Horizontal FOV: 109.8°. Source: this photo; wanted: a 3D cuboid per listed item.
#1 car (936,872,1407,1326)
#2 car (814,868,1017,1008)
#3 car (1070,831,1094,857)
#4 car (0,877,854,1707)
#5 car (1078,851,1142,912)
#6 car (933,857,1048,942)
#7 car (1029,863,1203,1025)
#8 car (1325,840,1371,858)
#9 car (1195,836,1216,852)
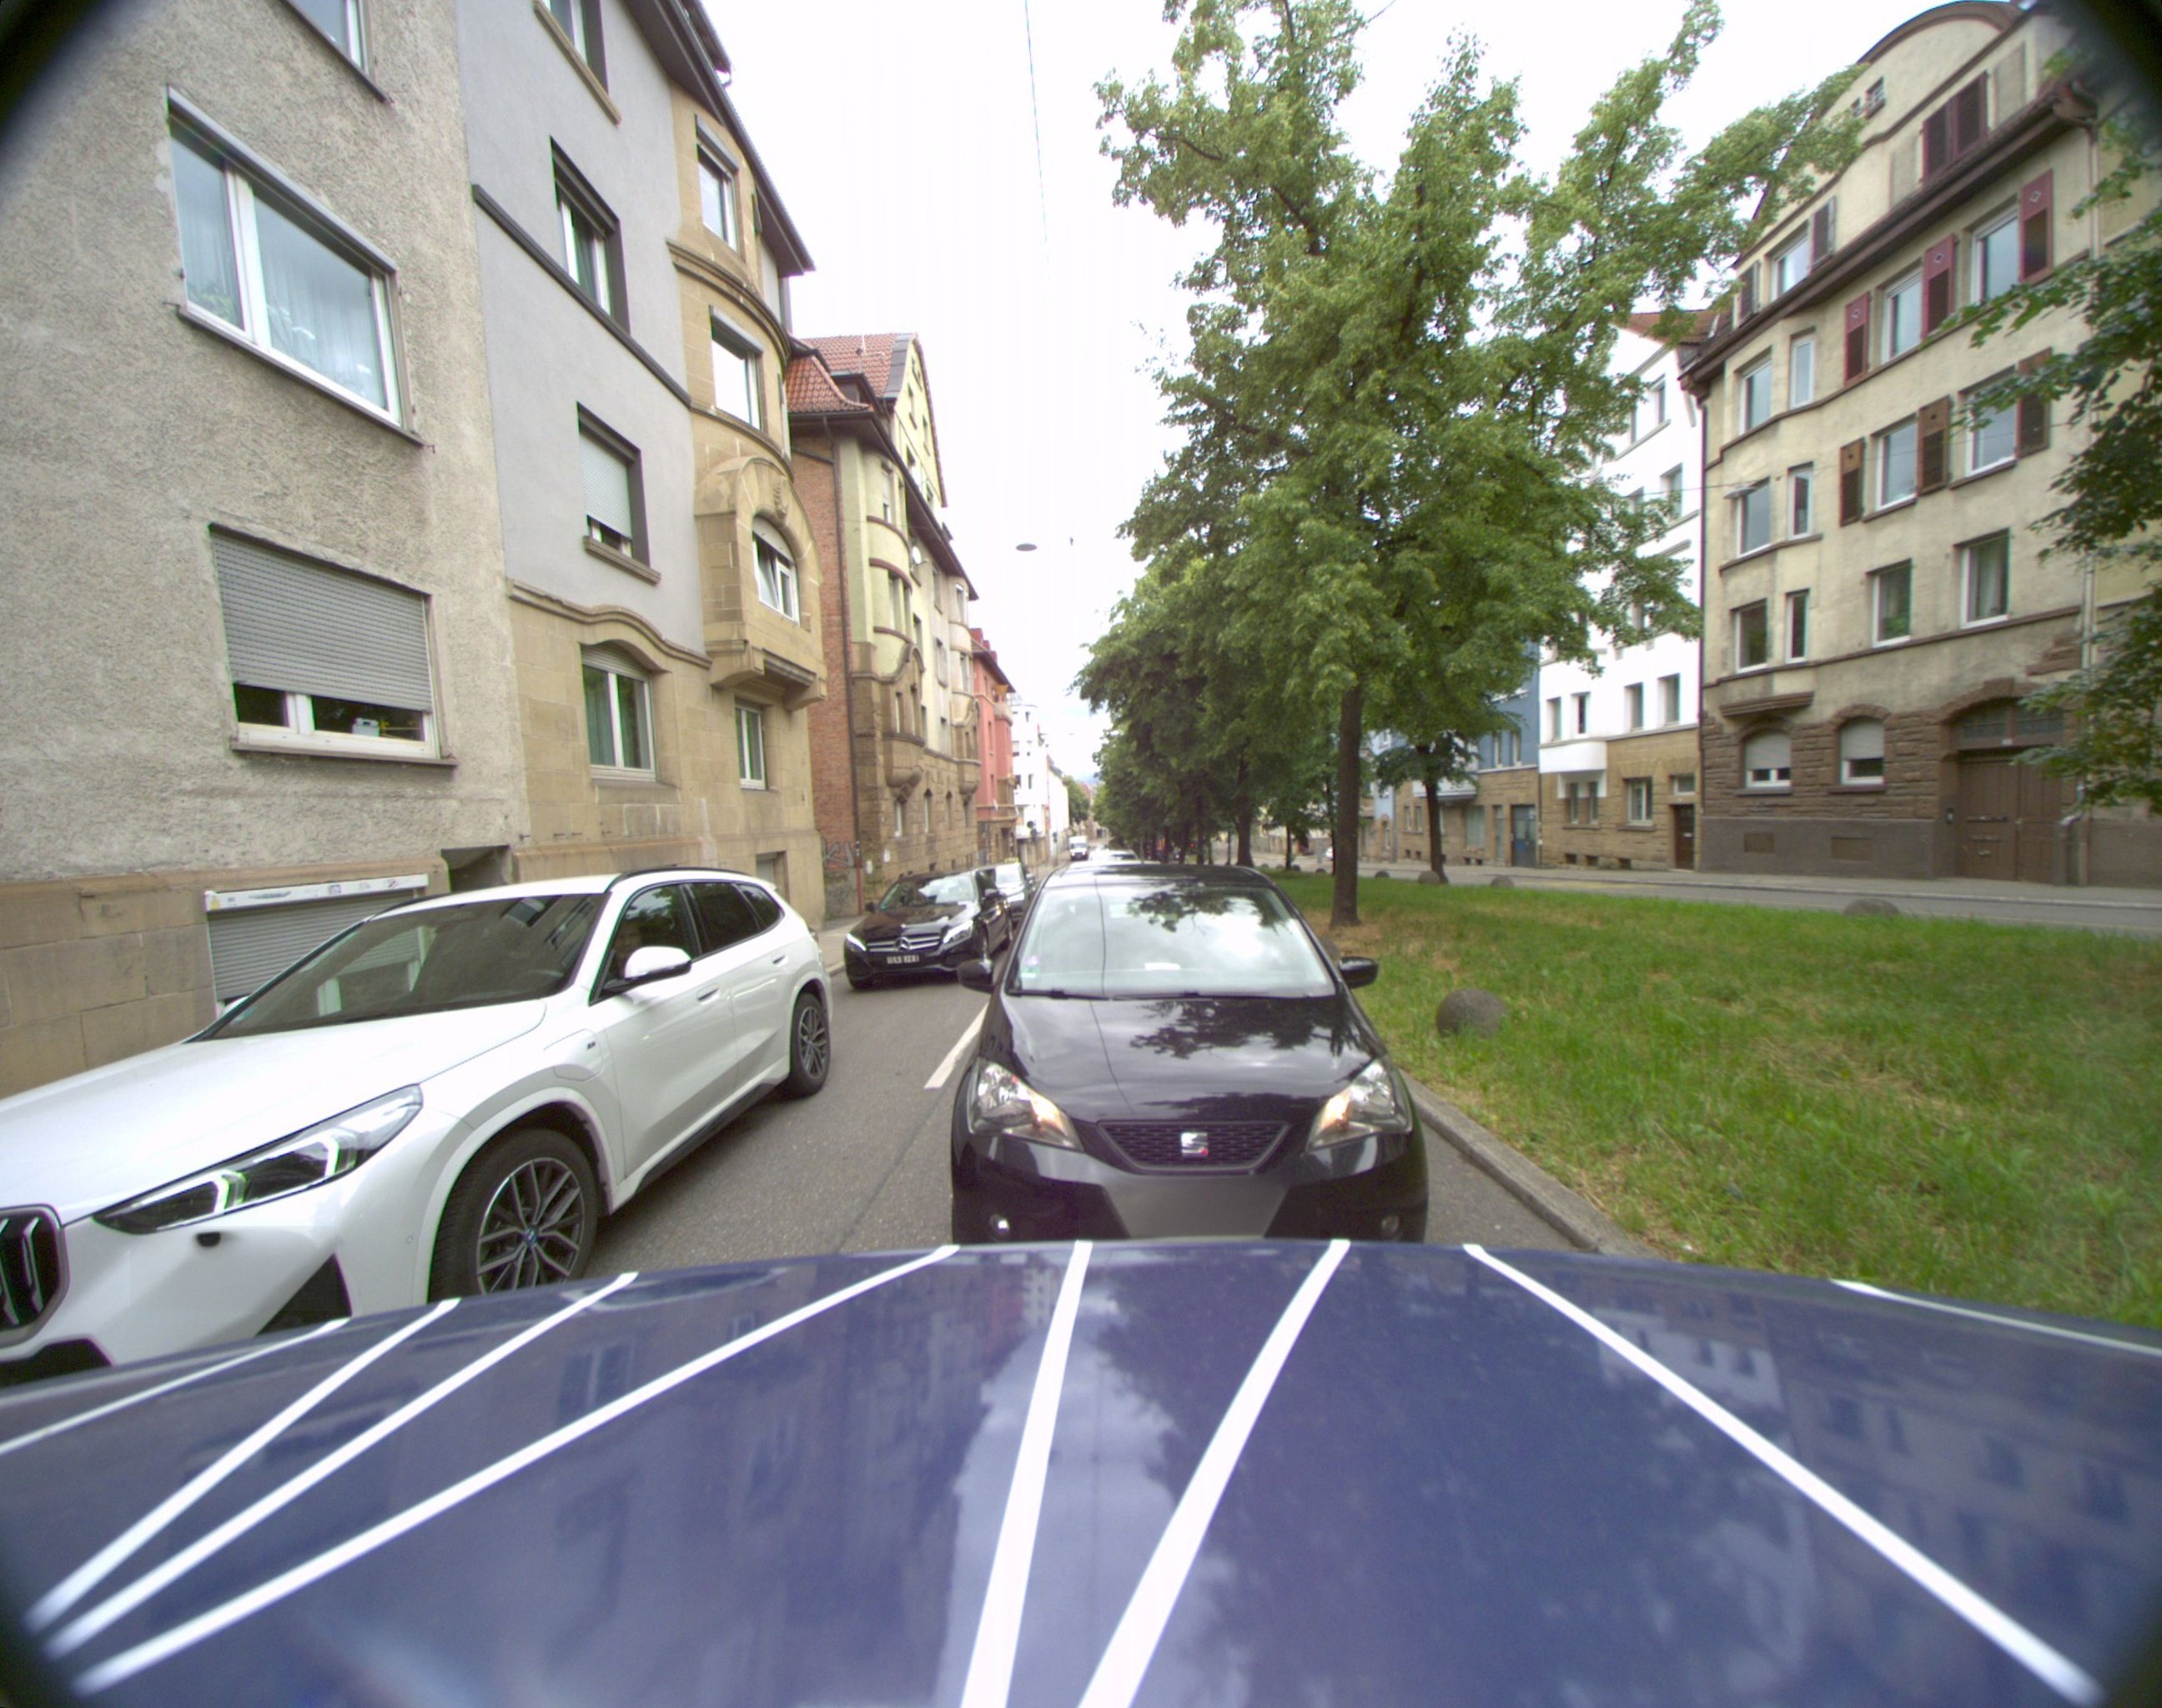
[{"bbox_3d":[0.333,0.888,4.263,1.611,1.457,3.296,0,1,1],"label":"car"},{"bbox_3d":[-2.155,1.051,11.198,1.884,1.369,4.205,-6,1,1],"label":"car"},{"bbox_3d":[0.148,-1.153,91.254,2.716,2.879,6.452,-2,1,1],"label":"car"},{"bbox_3d":[-2.789,1.076,3.745,1.859,1.547,4.350,-6,1,0],"label":"car"},{"bbox_3d":[0.787,0.704,21.576,1.607,1.492,3.737,-2,1,1],"label":"car"},{"bbox_3d":[-1.977,0.963,18.044,1.936,1.506,4.303,-6,1,2],"label":"car"},{"bbox_3d":[0.373,0.917,9.286,1.664,1.456,3.581,-2,1,1],"label":"car"},{"bbox_3d":[22.162,-0.417,63.112,3.291,1.323,1.672,-2,1,10],"label":"car"},{"bbox_3d":[15.610,-1.218,95.333,1.998,1.933,5.308,-3,0,4],"label":"car"}]
